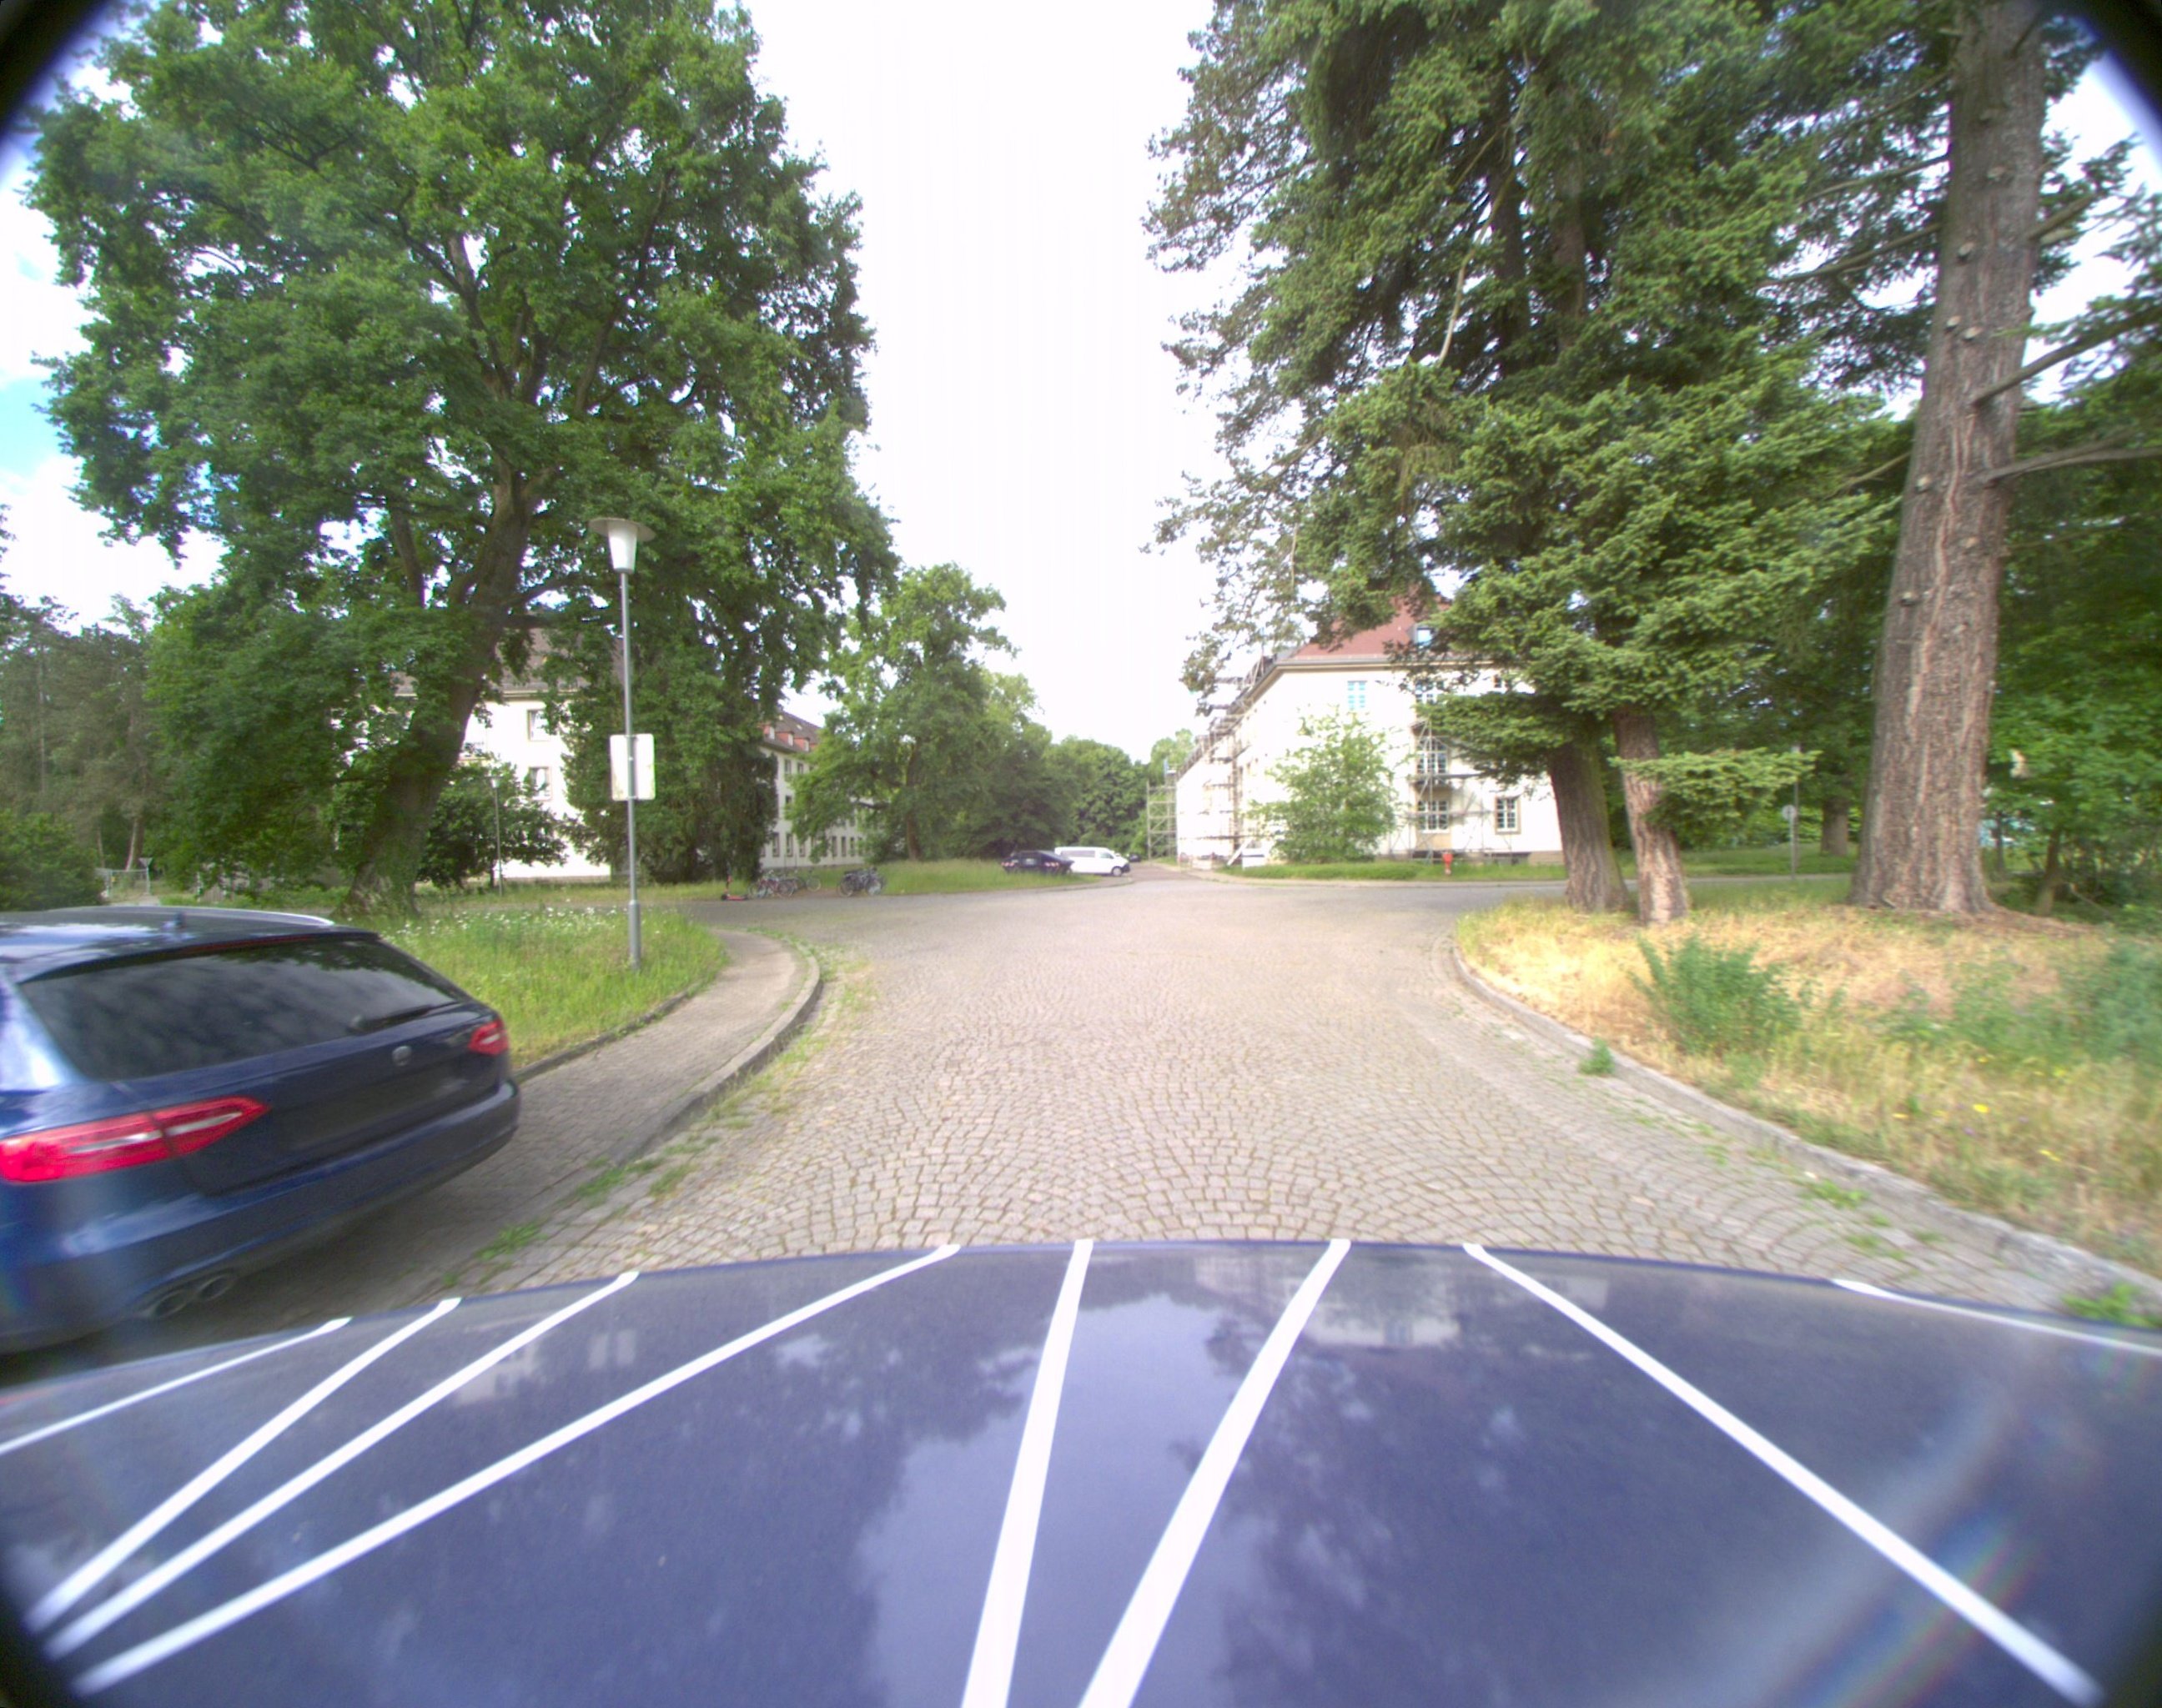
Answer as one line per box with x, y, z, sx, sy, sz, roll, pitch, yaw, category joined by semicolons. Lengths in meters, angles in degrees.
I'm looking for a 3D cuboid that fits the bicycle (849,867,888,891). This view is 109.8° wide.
-10.396;1.204;37.143;1.810;1.082;0.552;-1;3;-20;bicycle

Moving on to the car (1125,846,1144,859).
8.265;-0.217;117.731;2.028;1.915;3.997;-1;0;-9;car

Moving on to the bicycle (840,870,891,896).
-9.080;1.204;32.038;2.019;1.004;0.478;-1;3;-20;bicycle

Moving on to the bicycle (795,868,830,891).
-12.941;1.223;36.608;1.568;1.028;0.475;-1;1;-22;bicycle

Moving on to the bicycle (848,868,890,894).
-9.657;1.216;34.555;1.790;1.082;0.478;-1;3;-20;bicycle

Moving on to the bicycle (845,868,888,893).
-9.971;1.214;35.287;1.868;1.082;0.519;-1;3;-20;bicycle

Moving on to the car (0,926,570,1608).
-4.782;1.098;2.892;4.514;1.456;1.896;0;0;5;car

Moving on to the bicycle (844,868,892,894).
-9.461;1.179;33.760;2.019;1.082;0.478;-1;3;-20;bicycle

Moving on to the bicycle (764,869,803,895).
-13.390;1.252;34.216;1.568;1.082;0.561;-1;1;-29;bicycle

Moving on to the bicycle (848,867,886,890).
-10.656;1.203;37.879;1.753;1.082;0.552;-1;3;-20;bicycle

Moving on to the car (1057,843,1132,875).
0.889;0.338;51.521;4.915;1.983;2.000;-1;0;-1;car

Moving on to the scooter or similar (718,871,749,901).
-14.268;1.300;31.226;1.062;1.188;0.385;-1;1;5;scooter or similar

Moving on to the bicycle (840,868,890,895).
-9.416;1.199;33.120;2.019;1.082;0.478;-1;3;-20;bicycle

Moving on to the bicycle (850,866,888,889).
-10.795;1.195;38.661;1.827;1.082;0.552;-1;3;-20;bicycle

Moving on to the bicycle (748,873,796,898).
-13.198;1.317;32.444;1.859;0.984;0.455;-1;1;-25;bicycle

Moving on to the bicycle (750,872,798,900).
-12.909;1.339;31.964;1.815;1.082;0.478;-1;3;-25;bicycle

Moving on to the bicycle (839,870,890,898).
-8.987;1.234;31.556;2.019;1.082;0.478;-1;3;-20;bicycle
